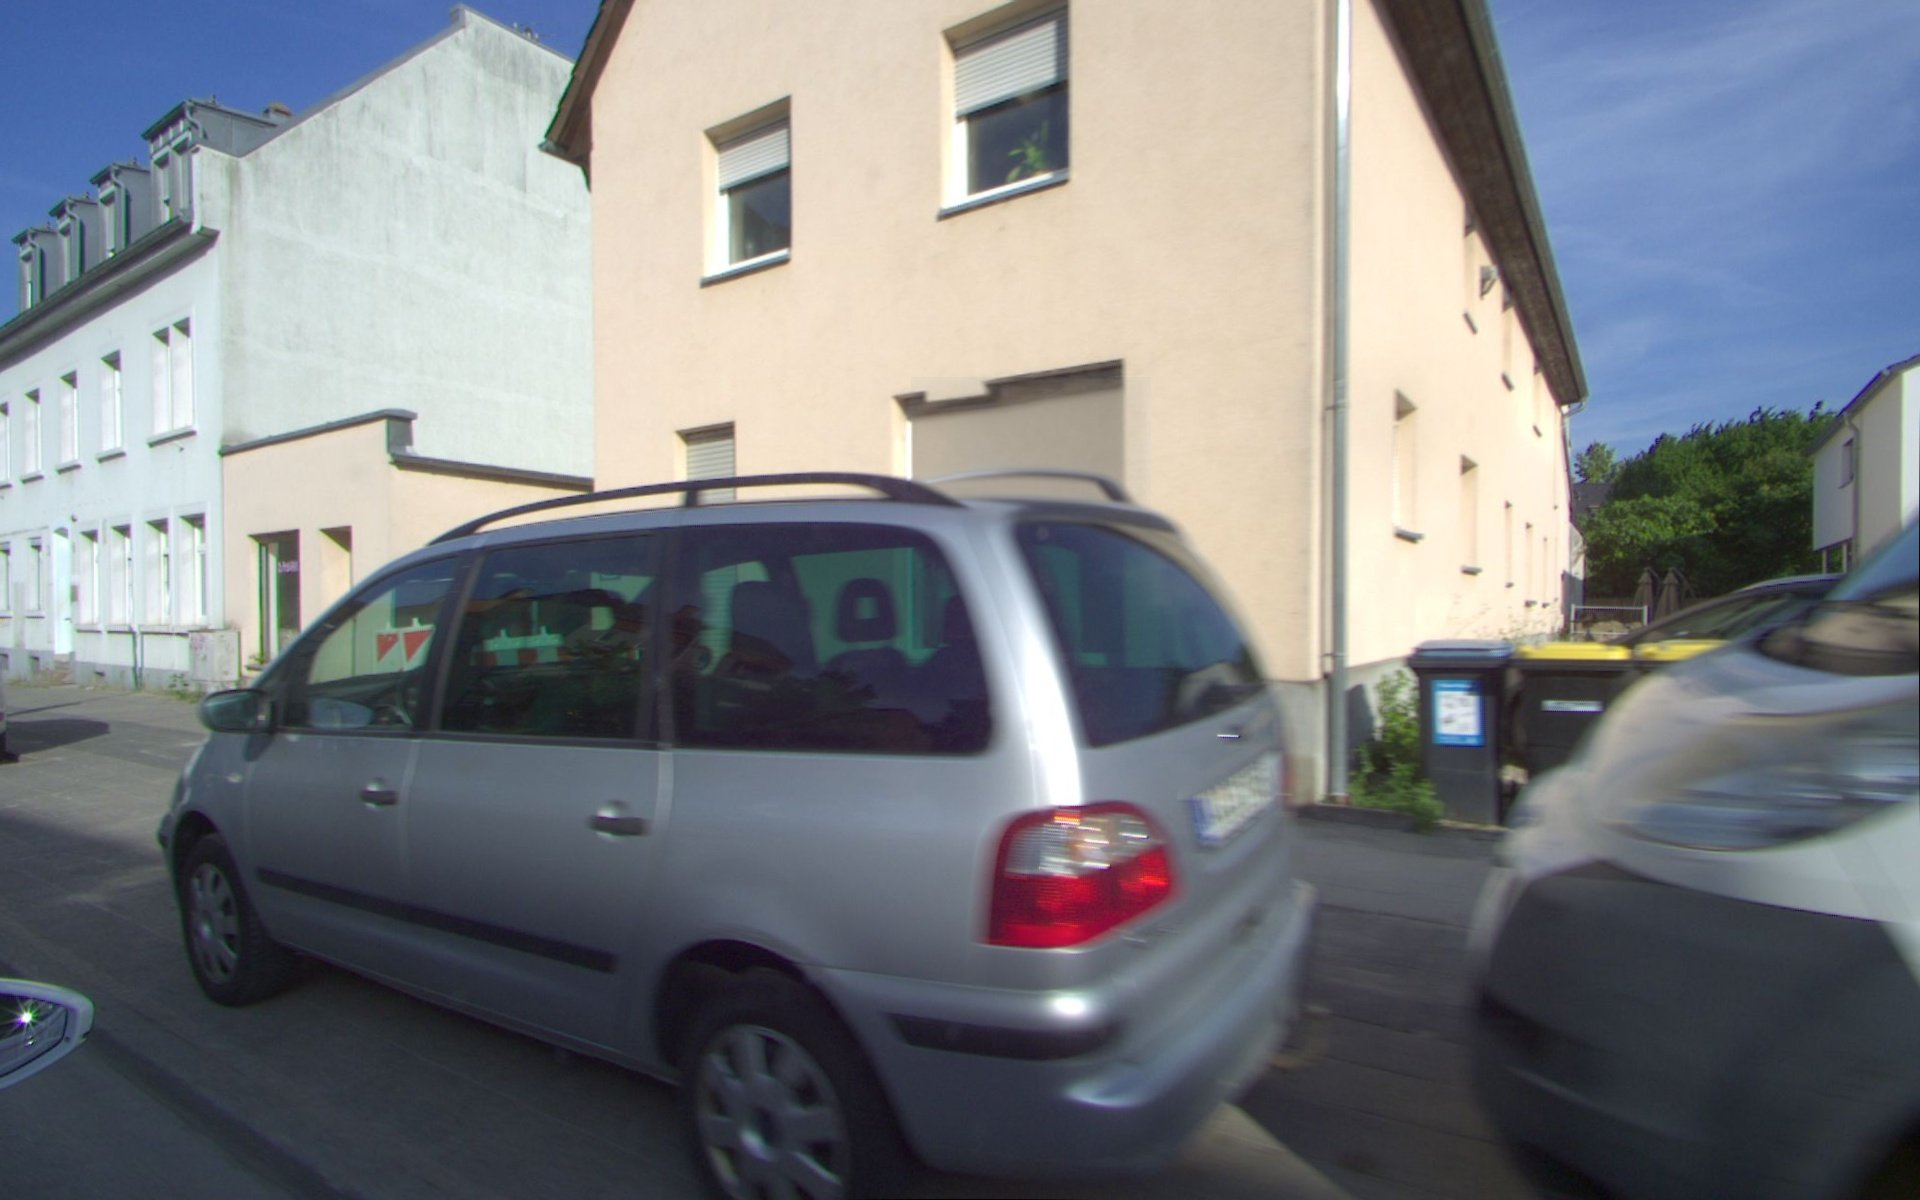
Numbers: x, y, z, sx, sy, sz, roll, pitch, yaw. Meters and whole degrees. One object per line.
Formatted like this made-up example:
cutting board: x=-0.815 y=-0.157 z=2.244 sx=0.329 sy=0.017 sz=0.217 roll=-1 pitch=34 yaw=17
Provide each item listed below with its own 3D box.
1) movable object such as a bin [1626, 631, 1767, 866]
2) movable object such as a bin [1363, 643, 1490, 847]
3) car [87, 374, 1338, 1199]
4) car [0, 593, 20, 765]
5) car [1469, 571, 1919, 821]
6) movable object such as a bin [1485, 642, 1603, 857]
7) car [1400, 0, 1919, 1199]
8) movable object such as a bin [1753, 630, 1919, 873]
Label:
movable object such as a bin: x=3.924 y=0.743 z=5.376 sx=0.545 sy=1.147 sz=0.726 roll=0 pitch=0 yaw=32
movable object such as a bin: x=2.811 y=0.822 z=6.013 sx=0.616 sy=1.107 sz=0.726 roll=0 pitch=-1 yaw=32
car: x=-1.153 y=0.529 z=3.571 sx=4.420 sy=1.764 sz=1.773 roll=-1 pitch=1 yaw=33
car: x=-11.726 y=0.796 z=10.495 sx=4.415 sy=1.706 sz=1.807 roll=0 pitch=0 yaw=34
car: x=5.778 y=0.536 z=6.717 sx=1.639 sy=1.426 sz=3.954 roll=-1 pitch=1 yaw=-33
movable object such as a bin: x=3.325 y=0.801 z=5.698 sx=0.545 sy=1.107 sz=0.726 roll=0 pitch=0 yaw=32
car: x=3.367 y=0.170 z=1.261 sx=4.925 sy=2.359 sz=2.170 roll=0 pitch=1 yaw=32
movable object such as a bin: x=4.403 y=0.711 z=5.050 sx=0.545 sy=1.107 sz=0.726 roll=0 pitch=0 yaw=32
